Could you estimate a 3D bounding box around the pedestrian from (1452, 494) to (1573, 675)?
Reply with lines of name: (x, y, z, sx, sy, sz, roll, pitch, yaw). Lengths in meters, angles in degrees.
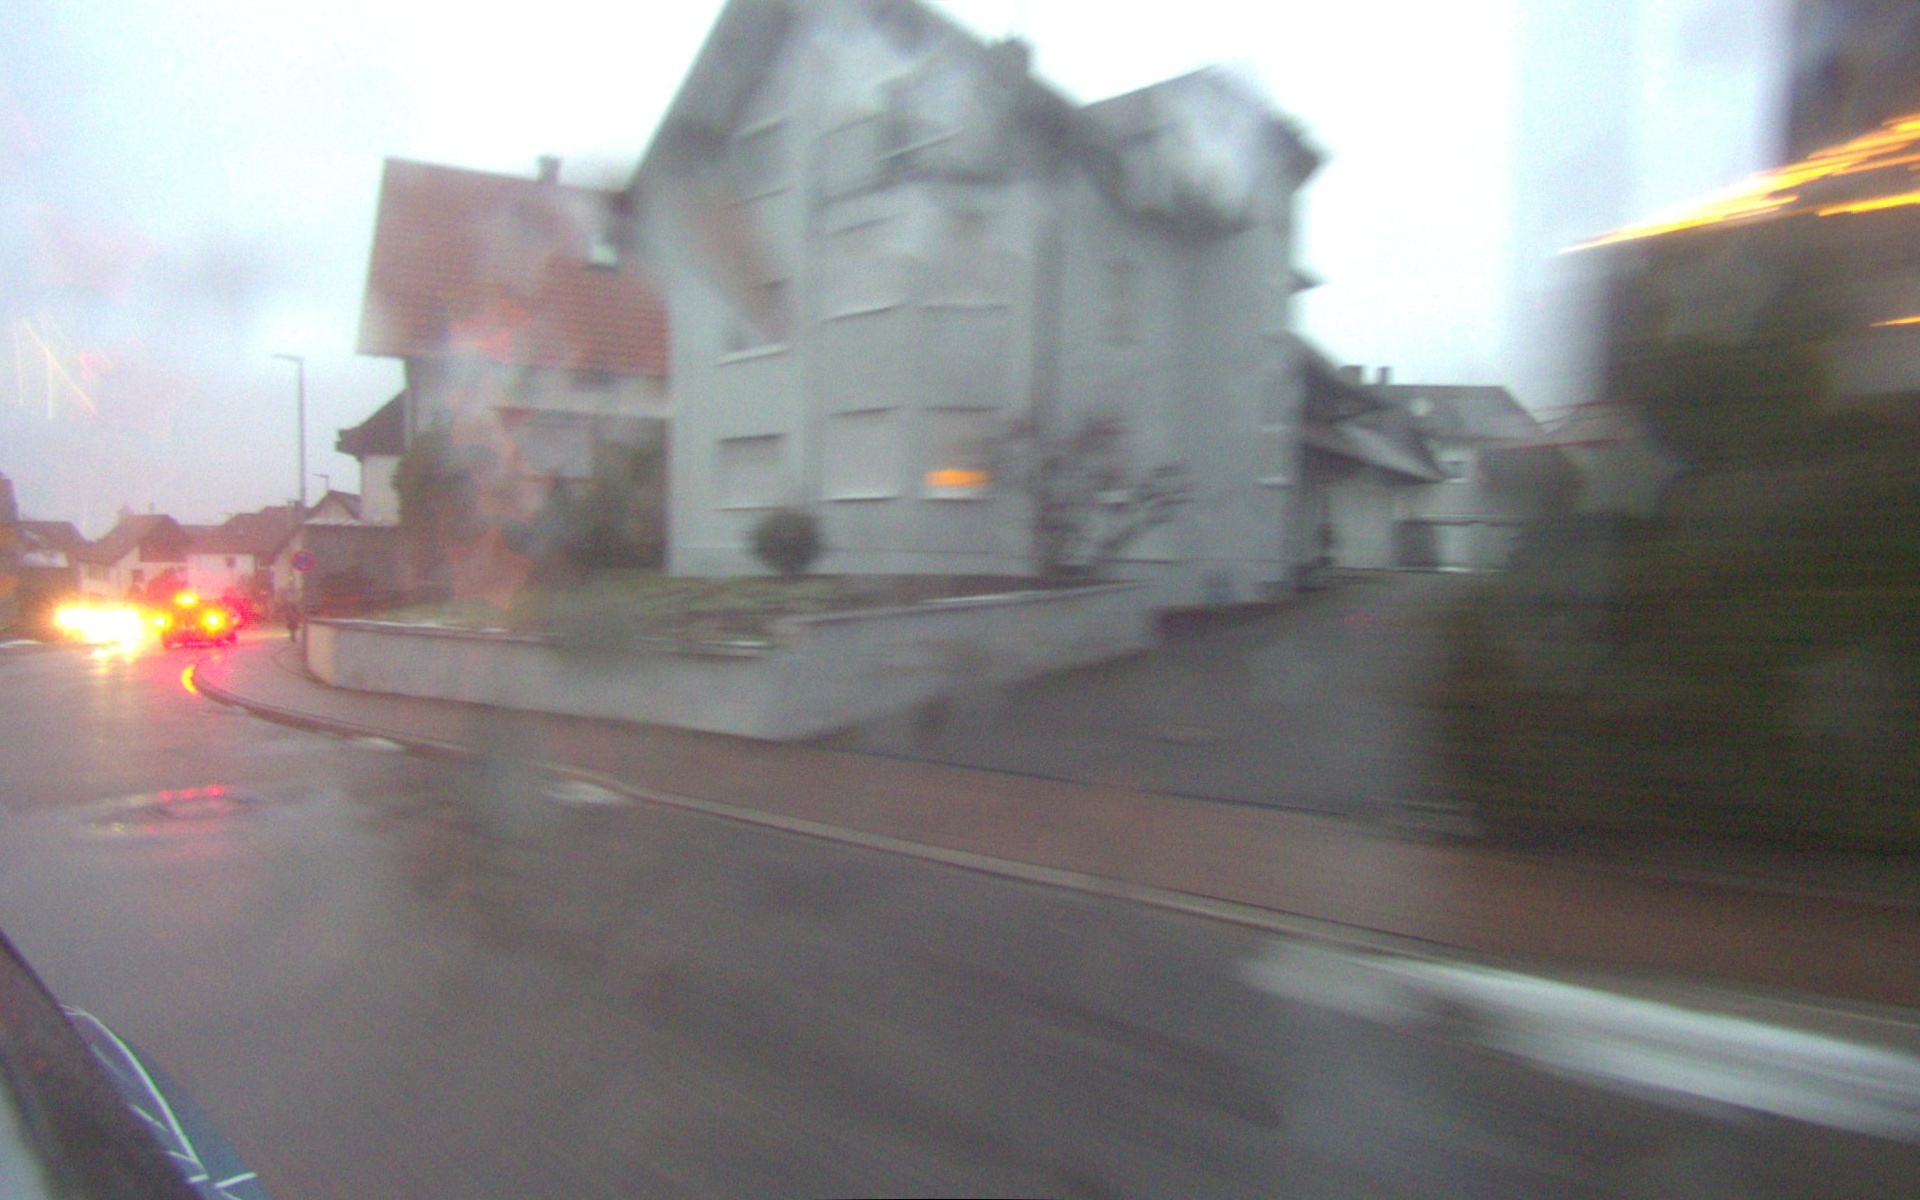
pedestrian: (5.671, -0.185, 10.375, 0.986, 1.744, 0.809, 0, 5, 36)

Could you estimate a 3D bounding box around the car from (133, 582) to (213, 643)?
car: (-28.435, 0.427, 36.710, 2.082, 2.042, 4.995, 0, 0, -35)

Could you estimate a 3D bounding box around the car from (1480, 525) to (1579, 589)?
car: (14.524, -1.132, 25.704, 1.701, 1.506, 3.951, 1, 4, 37)

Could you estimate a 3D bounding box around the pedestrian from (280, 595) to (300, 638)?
pedestrian: (-28.239, 0.680, 42.652, 0.589, 1.745, 0.815, -2, 2, -29)
